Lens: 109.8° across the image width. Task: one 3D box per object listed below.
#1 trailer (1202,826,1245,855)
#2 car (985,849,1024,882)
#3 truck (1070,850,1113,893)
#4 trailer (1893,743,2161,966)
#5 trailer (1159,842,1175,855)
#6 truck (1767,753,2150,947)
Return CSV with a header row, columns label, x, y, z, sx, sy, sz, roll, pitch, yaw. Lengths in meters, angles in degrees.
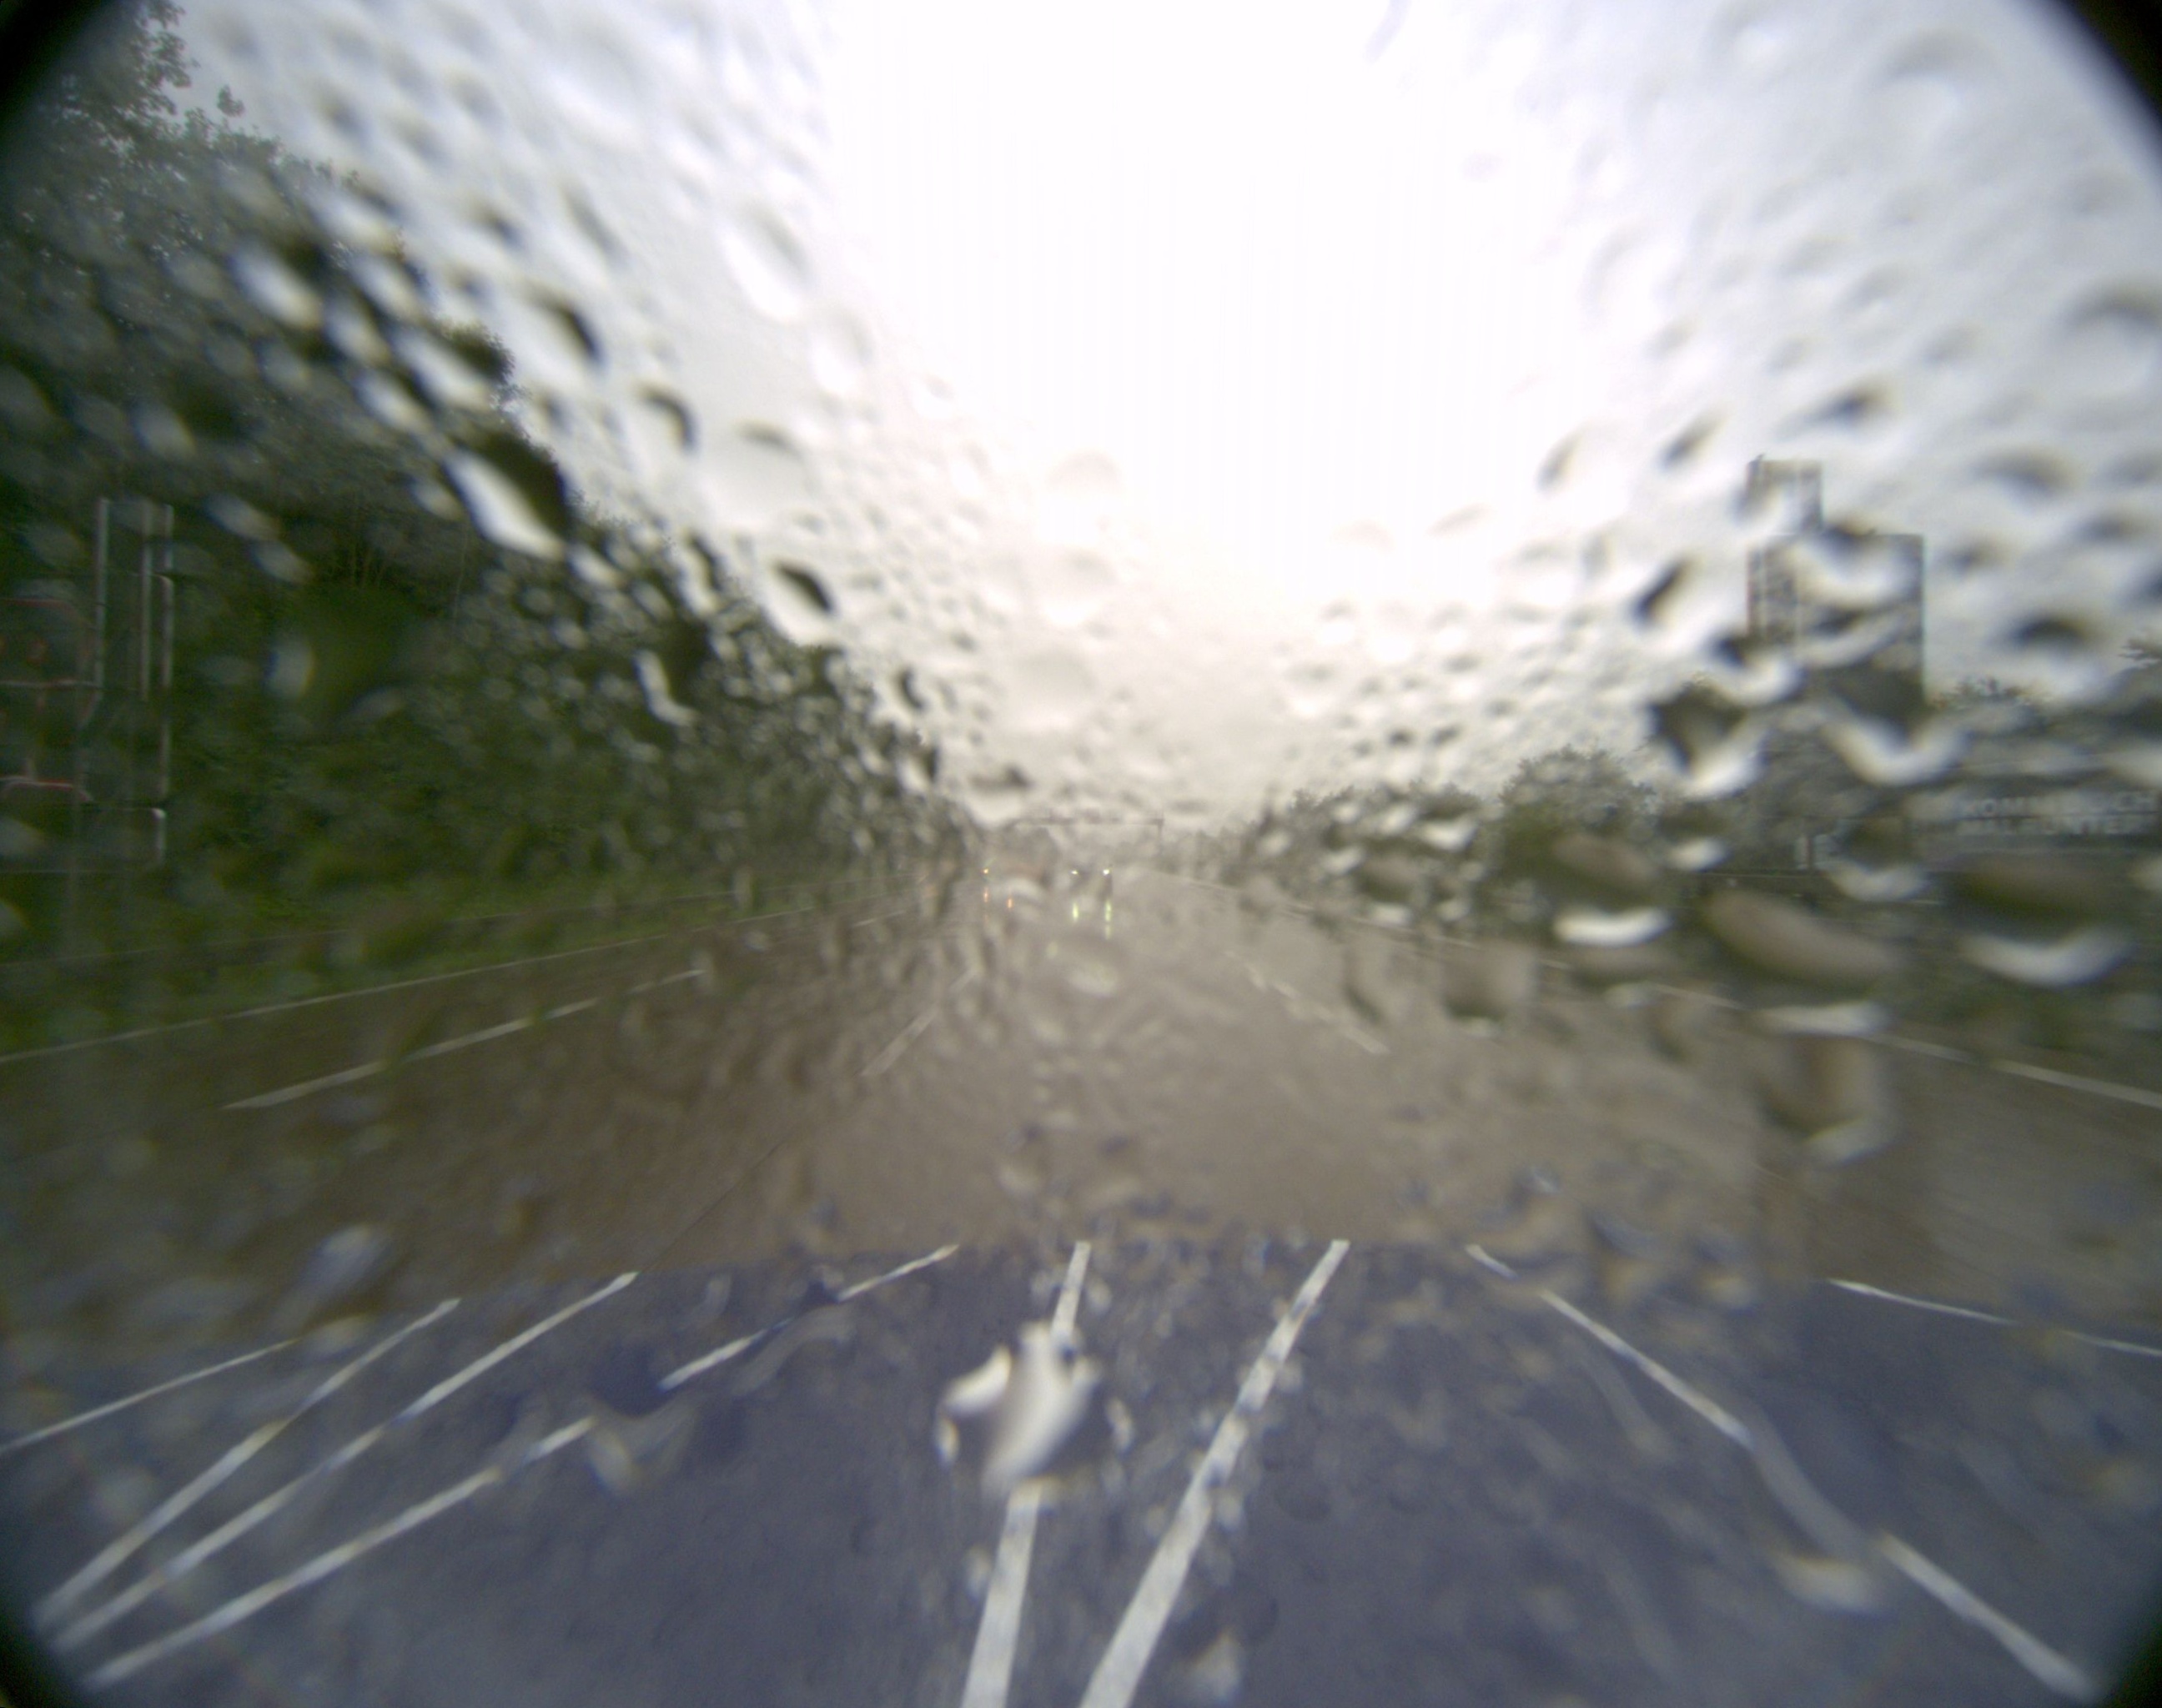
label,x,y,z,sx,sy,sz,roll,pitch,yaw
trailer,19.275,-1.791,103.613,2.860,3.522,13.704,-2,1,-1
car,-4.866,0.701,48.949,1.859,2.002,4.001,-1,0,3
truck,0.501,0.799,39.233,1.998,2.002,7.575,0,0,0
trailer,21.716,-0.027,13.074,3.363,4.149,11.401,-1,0,1
trailer,23.966,-1.476,212.683,2.972,3.653,12.285,-1,0,1
truck,21.749,-0.089,19.422,3.382,4.160,5.519,-1,0,0
